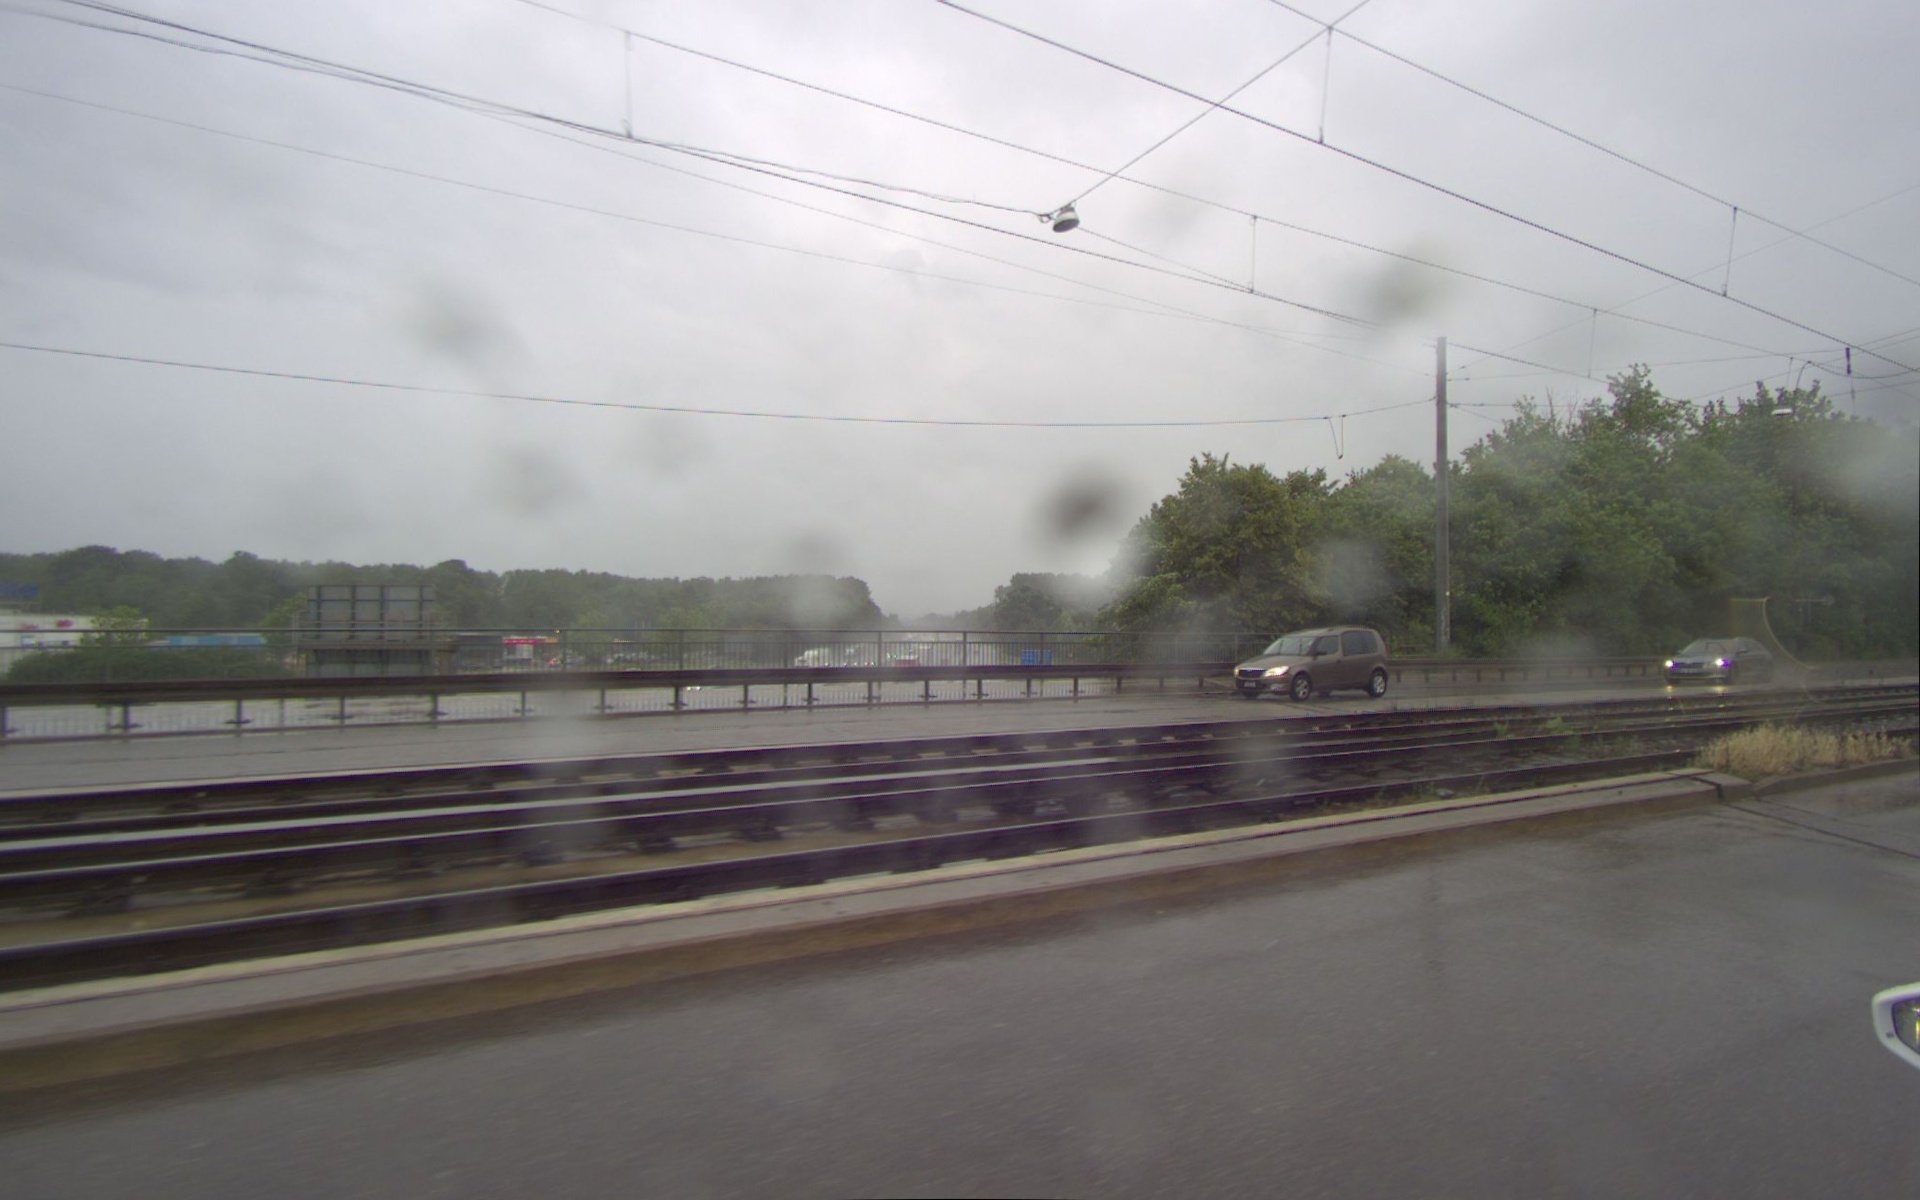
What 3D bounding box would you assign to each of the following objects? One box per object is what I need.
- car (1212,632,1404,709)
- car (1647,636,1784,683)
[{"bbox_3d":[8.084,1.573,23.234,4.334,1.595,1.832,2,-1,-30],"label":"car"},{"bbox_3d":[24.829,1.906,32.972,4.798,1.407,1.983,1,-1,-31],"label":"car"}]
